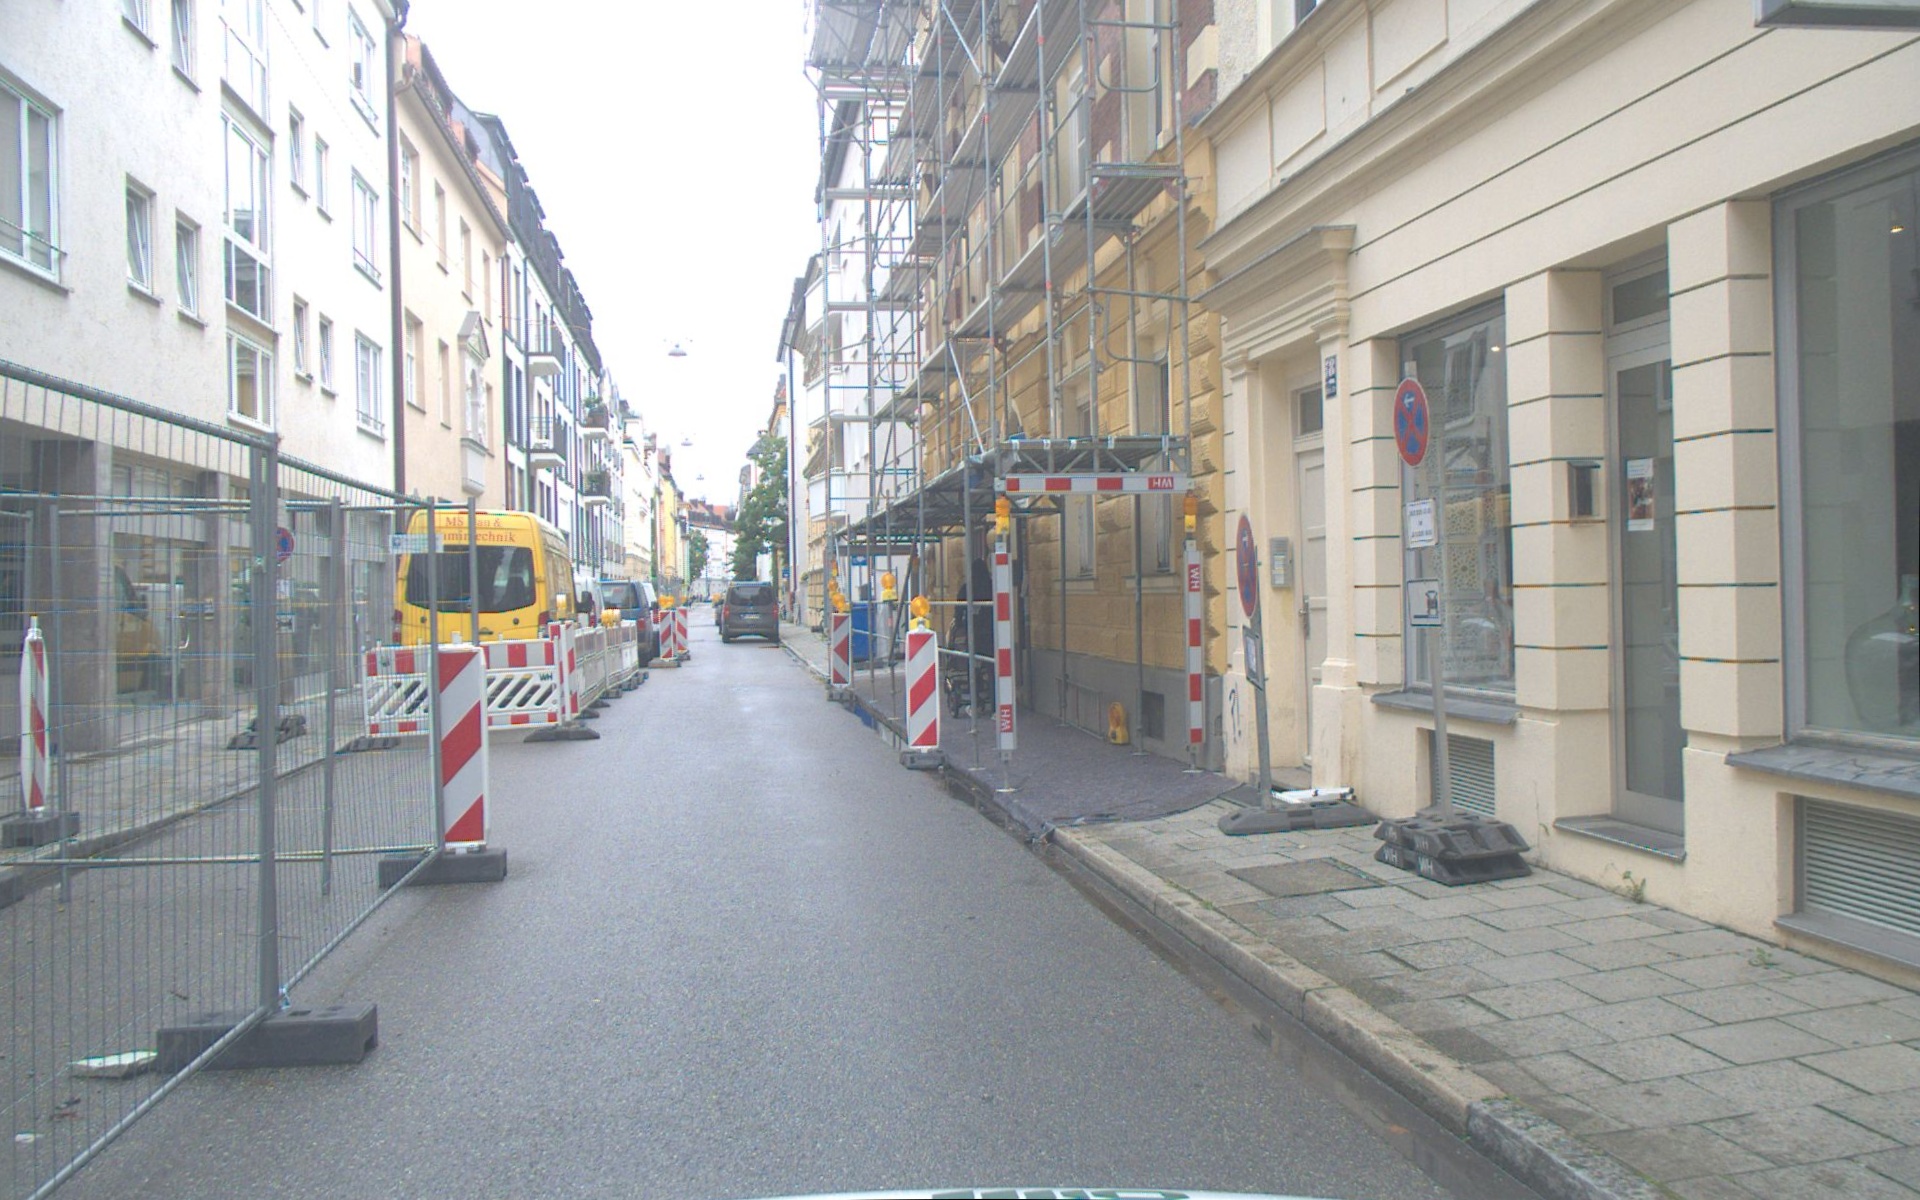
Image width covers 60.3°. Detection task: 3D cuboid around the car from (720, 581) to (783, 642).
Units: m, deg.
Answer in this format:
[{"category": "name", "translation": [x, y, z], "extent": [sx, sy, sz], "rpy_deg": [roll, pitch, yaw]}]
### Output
[{"category": "car", "translation": [-7.066, 0.372, 55.821], "extent": [1.957, 1.966, 4.650], "rpy_deg": [0, 0, -9]}]

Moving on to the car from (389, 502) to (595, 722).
[{"category": "car", "translation": [-6.460, 0.132, 23.596], "extent": [1.957, 2.623, 6.722], "rpy_deg": [-2, 0, -9]}]

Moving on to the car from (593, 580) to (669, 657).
[{"category": "car", "translation": [-8.976, 0.474, 45.038], "extent": [1.871, 1.930, 5.074], "rpy_deg": [-1, 0, -12]}]

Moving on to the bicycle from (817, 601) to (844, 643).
[{"category": "bicycle", "translation": [-3.882, 0.641, 49.422], "extent": [0.626, 1.173, 1.912], "rpy_deg": [-4, 1, -8]}]

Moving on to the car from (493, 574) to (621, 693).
[{"category": "car", "translation": [-7.420, 0.572, 30.828], "extent": [1.882, 1.930, 4.779], "rpy_deg": [-3, 0, -10]}]

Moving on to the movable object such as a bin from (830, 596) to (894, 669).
[{"category": "movable object such as a bin", "translation": [-2.009, 0.647, 34.042], "extent": [1.064, 1.369, 1.318], "rpy_deg": [-4, 1, 4]}]

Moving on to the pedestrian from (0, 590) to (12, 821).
[{"category": "pedestrian", "translation": [-6.752, 0.711, 10.890], "extent": [0.626, 1.559, 0.746], "rpy_deg": [0, 0, -6]}]

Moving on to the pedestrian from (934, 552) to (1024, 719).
[{"category": "pedestrian", "translation": [0.206, 0.384, 18.738], "extent": [0.716, 1.782, 0.986], "rpy_deg": [-5, 1, -9]}]

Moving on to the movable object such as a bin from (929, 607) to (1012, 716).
[{"category": "movable object such as a bin", "translation": [0.115, 0.705, 19.441], "extent": [0.716, 1.160, 0.986], "rpy_deg": [-6, 1, -10]}]

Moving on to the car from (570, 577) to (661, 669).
[{"category": "car", "translation": [-8.054, 0.507, 39.069], "extent": [1.695, 1.930, 5.498], "rpy_deg": [-3, 0, -9]}]
